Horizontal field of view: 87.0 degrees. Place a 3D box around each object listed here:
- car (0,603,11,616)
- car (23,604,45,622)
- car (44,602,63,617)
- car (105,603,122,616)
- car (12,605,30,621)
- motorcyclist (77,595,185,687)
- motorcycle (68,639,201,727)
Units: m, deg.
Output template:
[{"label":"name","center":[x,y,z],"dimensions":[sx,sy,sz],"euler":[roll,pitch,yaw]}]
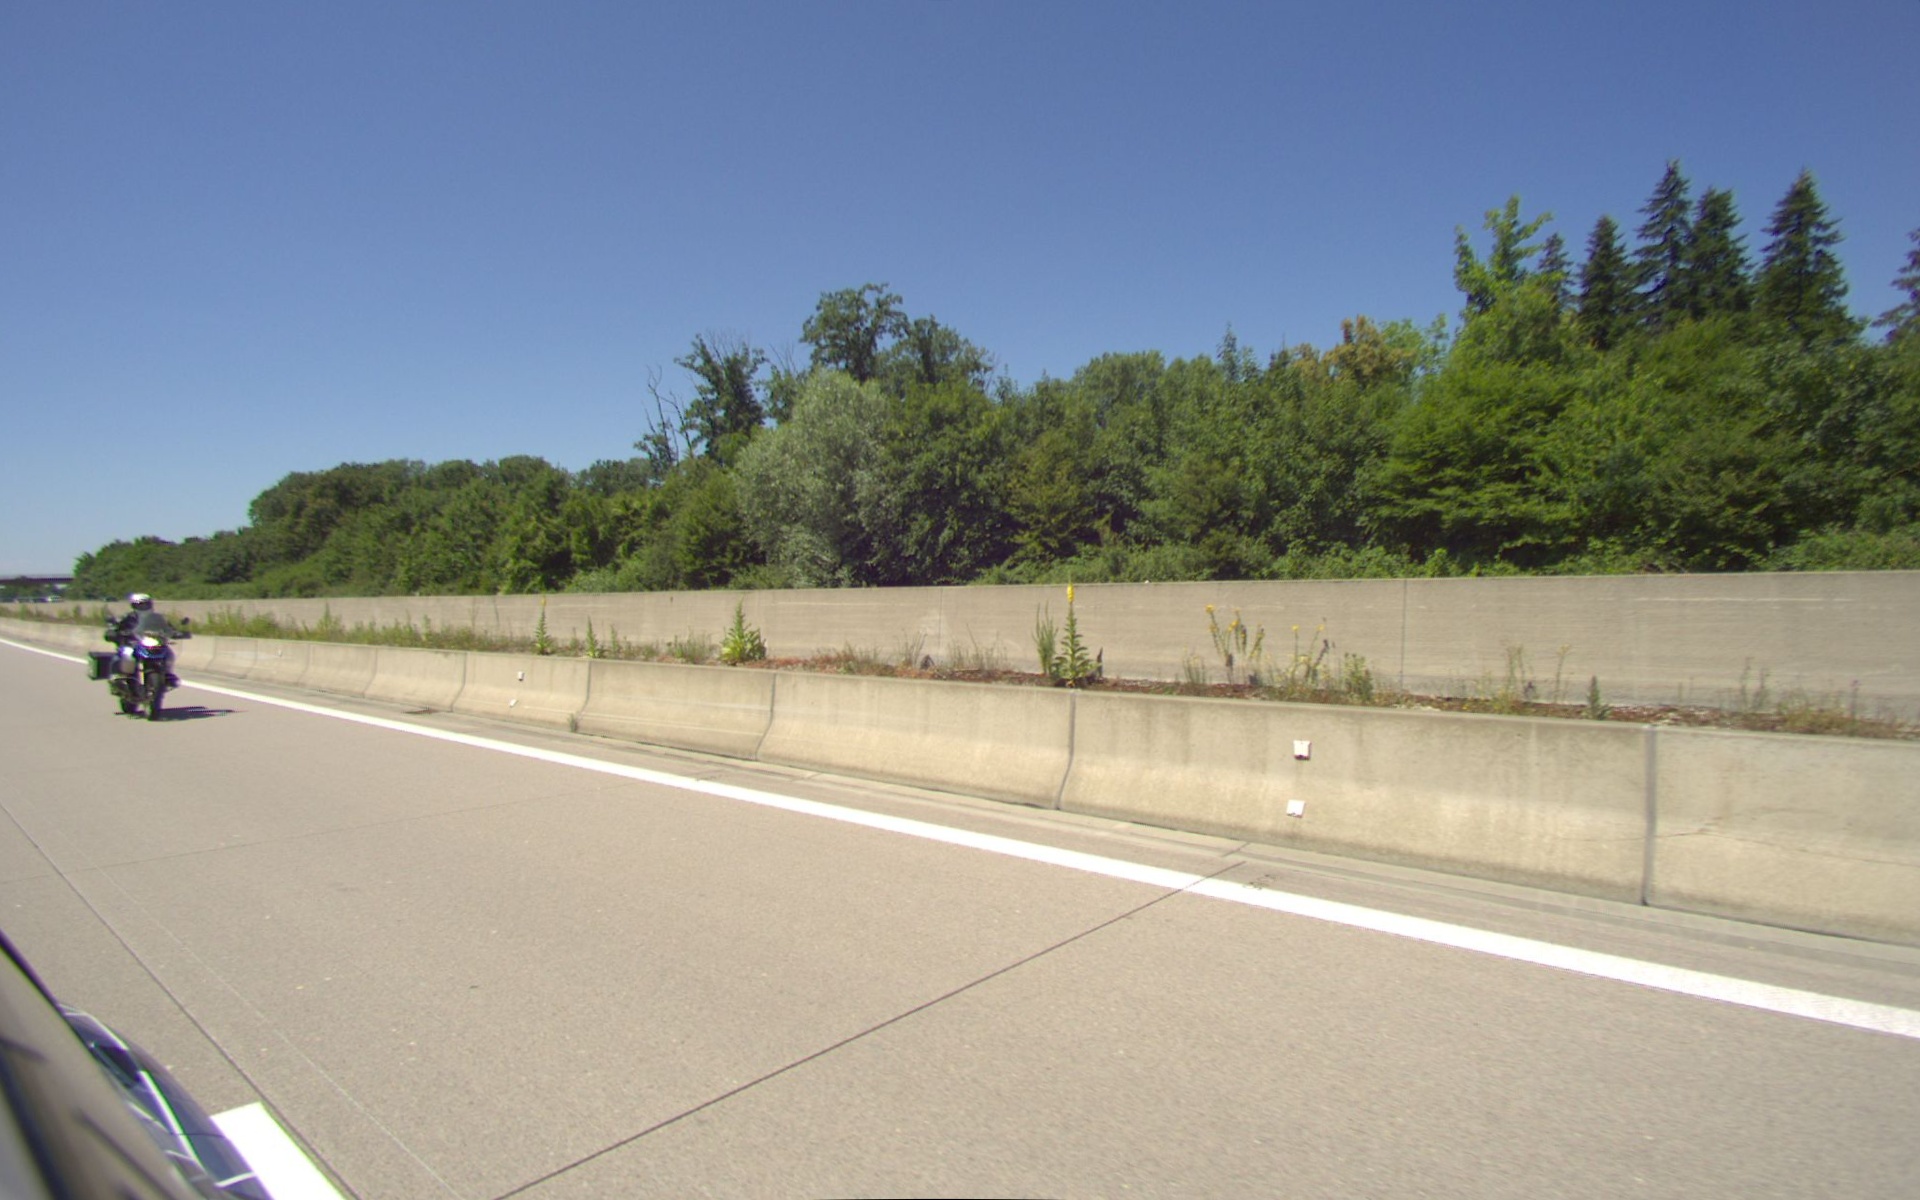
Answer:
[{"label":"car","center":[-152.588,1.587,161.359],"dimensions":[3.653,2.029,1.618],"euler":[-1,0,43]},{"label":"car","center":[-104.307,1.482,113.986],"dimensions":[4.787,2.029,1.417],"euler":[-1,0,43]},{"label":"car","center":[-126.958,1.376,141.691],"dimensions":[4.103,2.029,1.617],"euler":[-1,0,43]},{"label":"car","center":[-113.758,1.271,136.001],"dimensions":[3.273,1.728,1.417],"euler":[-1,0,43]},{"label":"car","center":[-122.616,1.725,132.120],"dimensions":[3.520,2.029,1.417],"euler":[-1,0,43]},{"label":"motorcyclist","center":[-11.493,0.557,14.036],"dimensions":[0.910,1.218,1.014],"euler":[-2,-2,40]},{"label":"motorcycle","center":[-11.435,1.099,13.987],"dimensions":[2.411,1.056,1.011],"euler":[-1,-1,40]}]
